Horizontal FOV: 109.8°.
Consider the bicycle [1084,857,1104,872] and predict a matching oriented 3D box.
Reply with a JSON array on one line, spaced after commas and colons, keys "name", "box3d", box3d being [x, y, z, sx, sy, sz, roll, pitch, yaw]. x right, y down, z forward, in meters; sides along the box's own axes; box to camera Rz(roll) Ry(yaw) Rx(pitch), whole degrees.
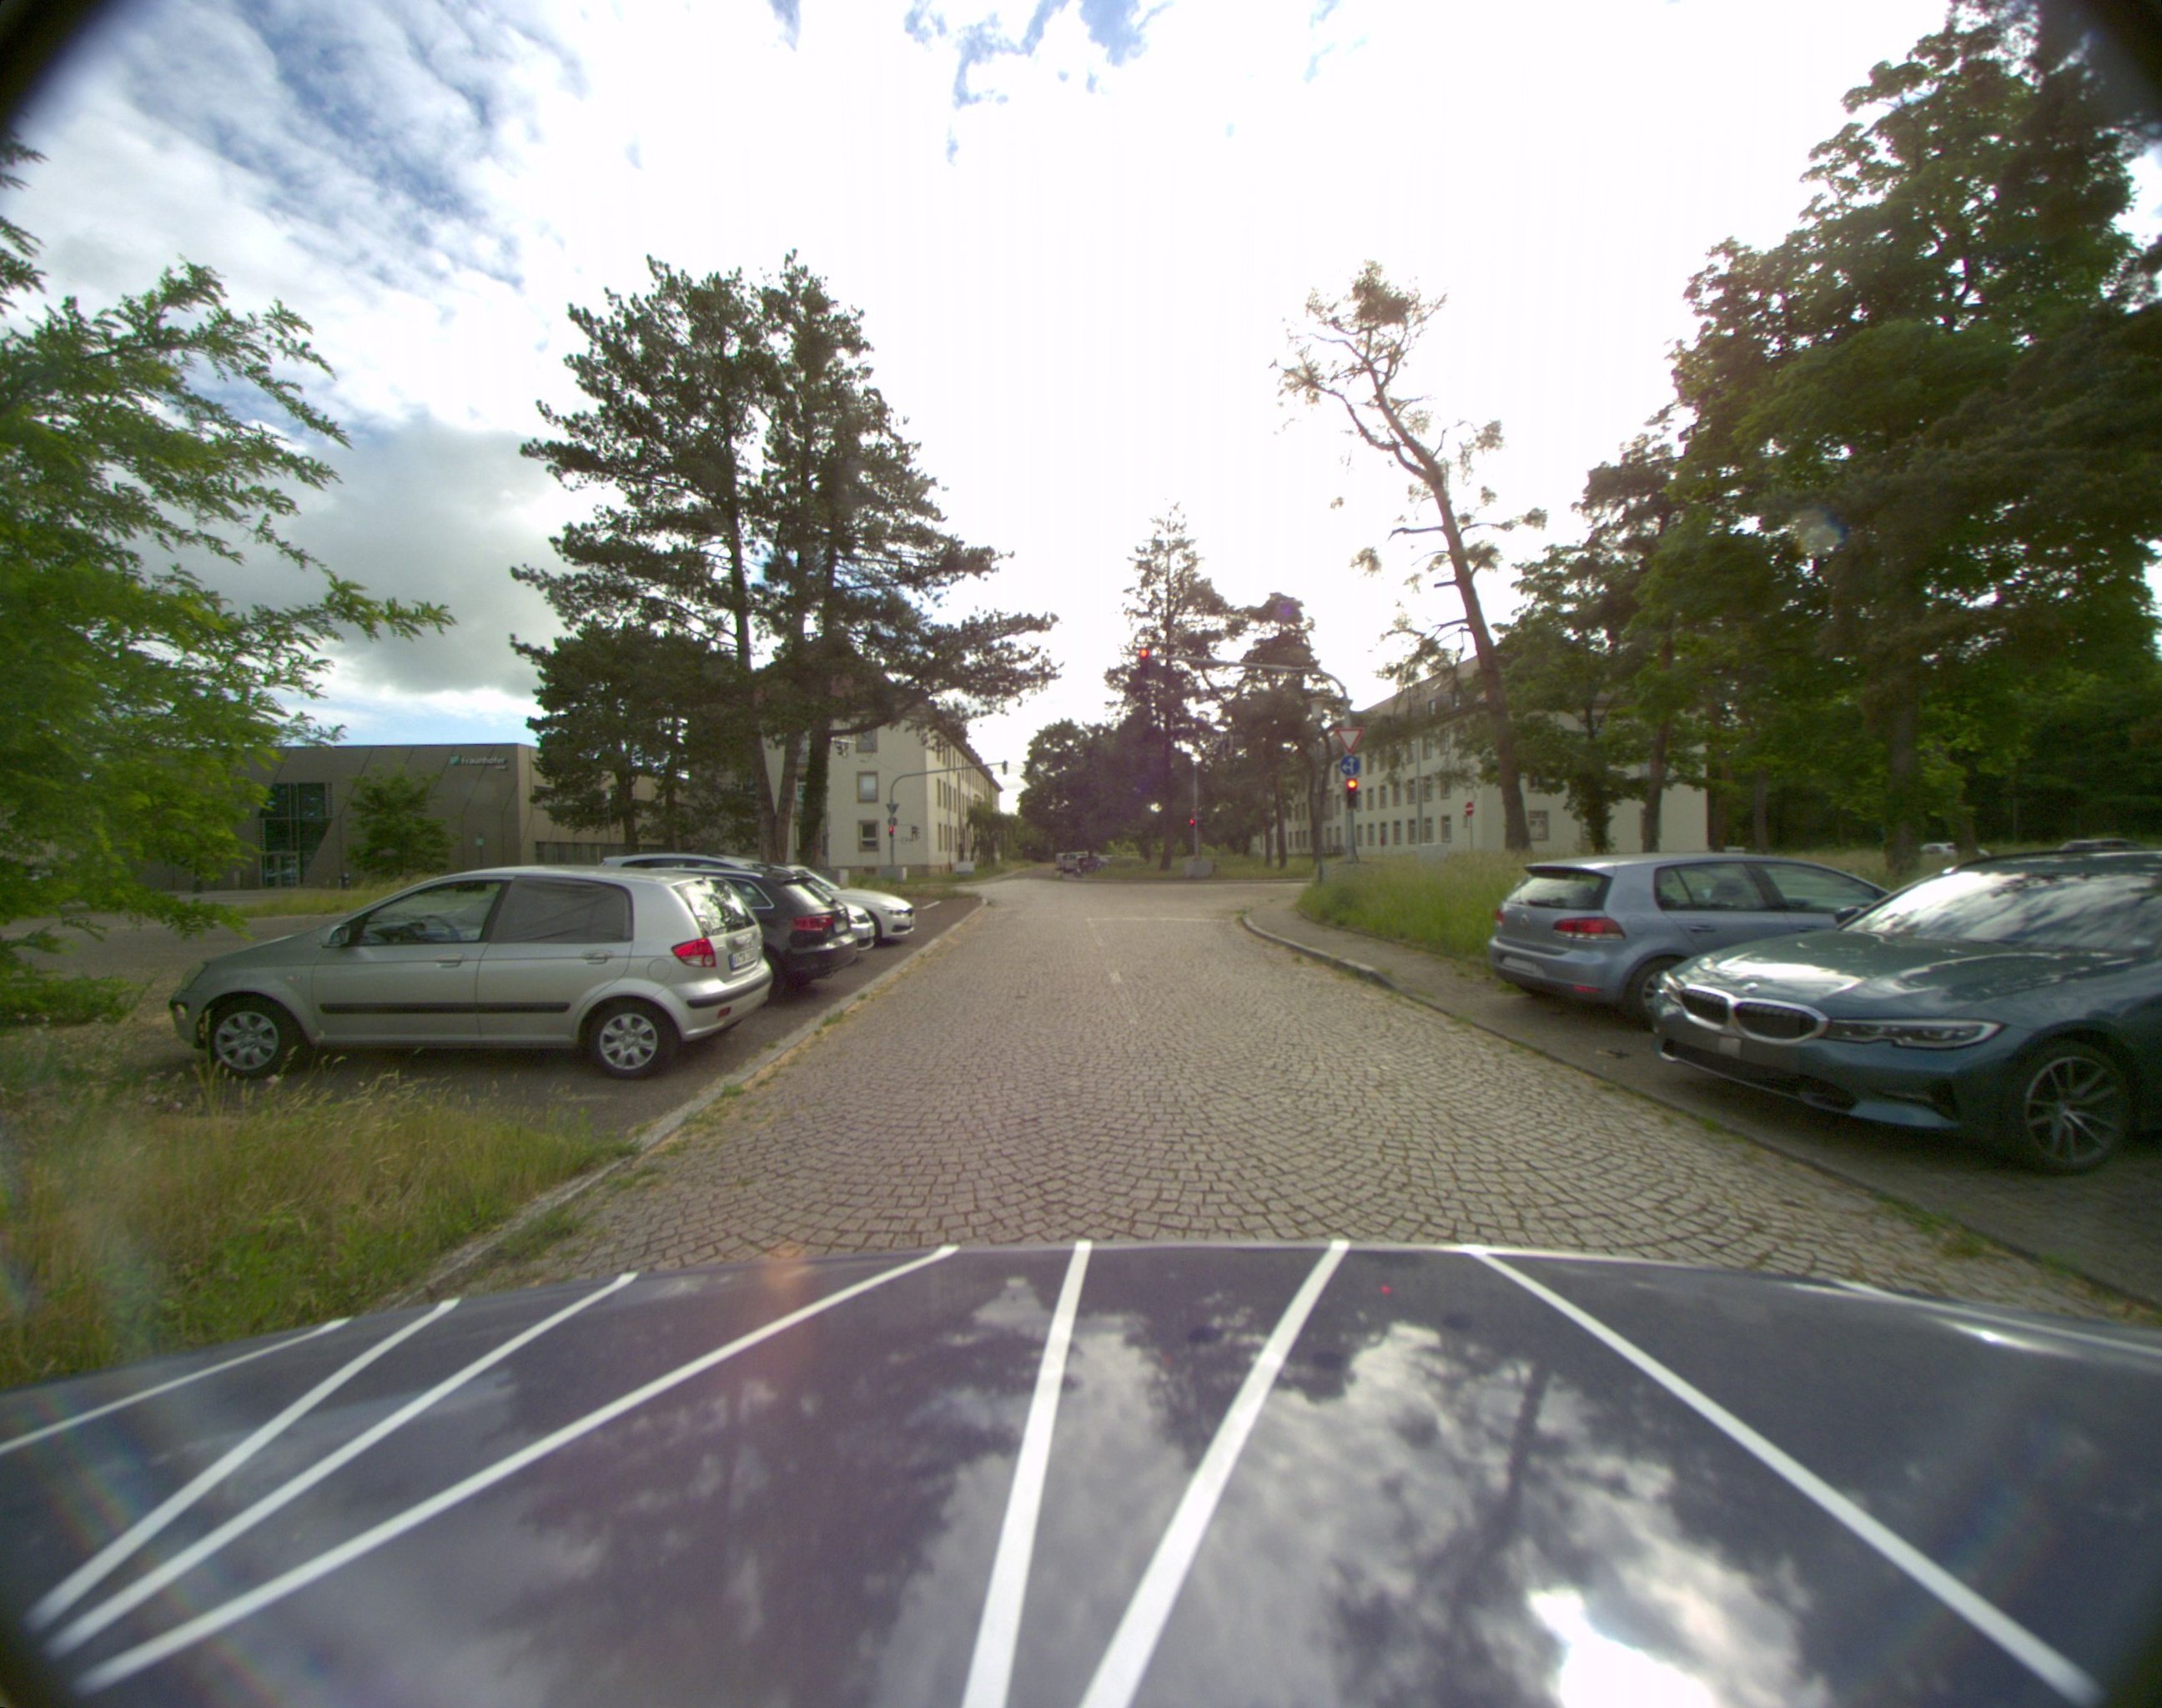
[{"name": "bicycle", "box3d": [0.990, 0.774, 58.143, 1.457, 1.033, 0.497, -4, 1, -6]}]

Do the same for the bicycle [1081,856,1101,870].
[{"name": "bicycle", "box3d": [0.815, 0.759, 61.962, 1.457, 1.033, 0.497, -4, 1, -6]}]

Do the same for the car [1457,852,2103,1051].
[{"name": "car", "box3d": [6.128, 0.791, 7.080, 4.340, 1.462, 1.826, -2, 1, 0]}]

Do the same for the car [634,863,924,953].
[{"name": "car", "box3d": [-5.324, 0.942, 13.896, 4.563, 1.417, 1.826, 1, 1, -5]}]

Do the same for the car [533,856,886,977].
[{"name": "car", "box3d": [-5.271, 0.881, 11.319, 4.343, 1.565, 1.825, 1, 1, -7]}]

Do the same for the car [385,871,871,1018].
[{"name": "car", "box3d": [-4.834, 0.951, 8.644, 4.378, 1.397, 1.796, 1, 0, -3]}]

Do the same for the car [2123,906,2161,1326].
[{"name": "car", "box3d": [5.951, 0.861, 1.763, 4.448, 1.447, 1.949, -2, 1, -1]}]

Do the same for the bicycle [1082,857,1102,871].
[{"name": "bicycle", "box3d": [0.857, 0.782, 59.299, 1.457, 1.033, 0.497, -4, 1, -6]}]

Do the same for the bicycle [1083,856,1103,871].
[{"name": "bicycle", "box3d": [0.901, 0.755, 58.831, 1.457, 1.033, 0.497, -4, 1, -6]}]

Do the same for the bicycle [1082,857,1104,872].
[{"name": "bicycle", "box3d": [0.895, 0.780, 55.725, 1.457, 1.033, 0.497, -4, 1, -9]}]

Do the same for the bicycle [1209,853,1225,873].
[{"name": "bicycle", "box3d": [7.802, 0.510, 43.600, 0.497, 1.068, 1.416, -4, 1, -4]}]

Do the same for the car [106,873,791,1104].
[{"name": "car", "box3d": [-4.496, 0.945, 5.950, 3.783, 1.471, 1.742, 1, 0, -4]}]

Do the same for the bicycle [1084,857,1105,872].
[{"name": "bicycle", "box3d": [1.035, 0.784, 57.560, 1.457, 1.033, 0.497, -4, 1, -6]}]

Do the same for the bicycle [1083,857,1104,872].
[{"name": "bicycle", "box3d": [0.935, 0.788, 56.522, 1.457, 1.033, 0.497, -4, 1, -6]}]

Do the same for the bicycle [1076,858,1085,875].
[{"name": "bicycle", "box3d": [-0.023, 0.857, 52.702, 0.497, 1.068, 1.416, -4, 1, -2]}]

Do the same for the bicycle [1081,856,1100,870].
[{"name": "bicycle", "box3d": [0.747, 0.762, 62.434, 1.457, 1.033, 0.497, -4, 1, -6]}]

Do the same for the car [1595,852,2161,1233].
[{"name": "car", "box3d": [5.847, 0.828, 4.446, 4.514, 1.528, 1.869, -2, 1, -5]}]

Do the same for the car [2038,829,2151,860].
[{"name": "car", "box3d": [57.481, -0.562, 43.157, 4.054, 1.601, 1.716, -2, 2, 1]}]

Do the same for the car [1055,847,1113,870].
[{"name": "car", "box3d": [0.265, 0.416, 73.817, 5.173, 1.906, 2.033, -3, 0, -15]}]

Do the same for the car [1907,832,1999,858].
[{"name": "car", "box3d": [57.994, -0.593, 50.577, 4.054, 1.601, 1.716, -2, 2, 2]}]

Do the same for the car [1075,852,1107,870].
[{"name": "car", "box3d": [0.933, 0.643, 70.499, 2.772, 1.407, 1.591, -4, 0, -2]}]
